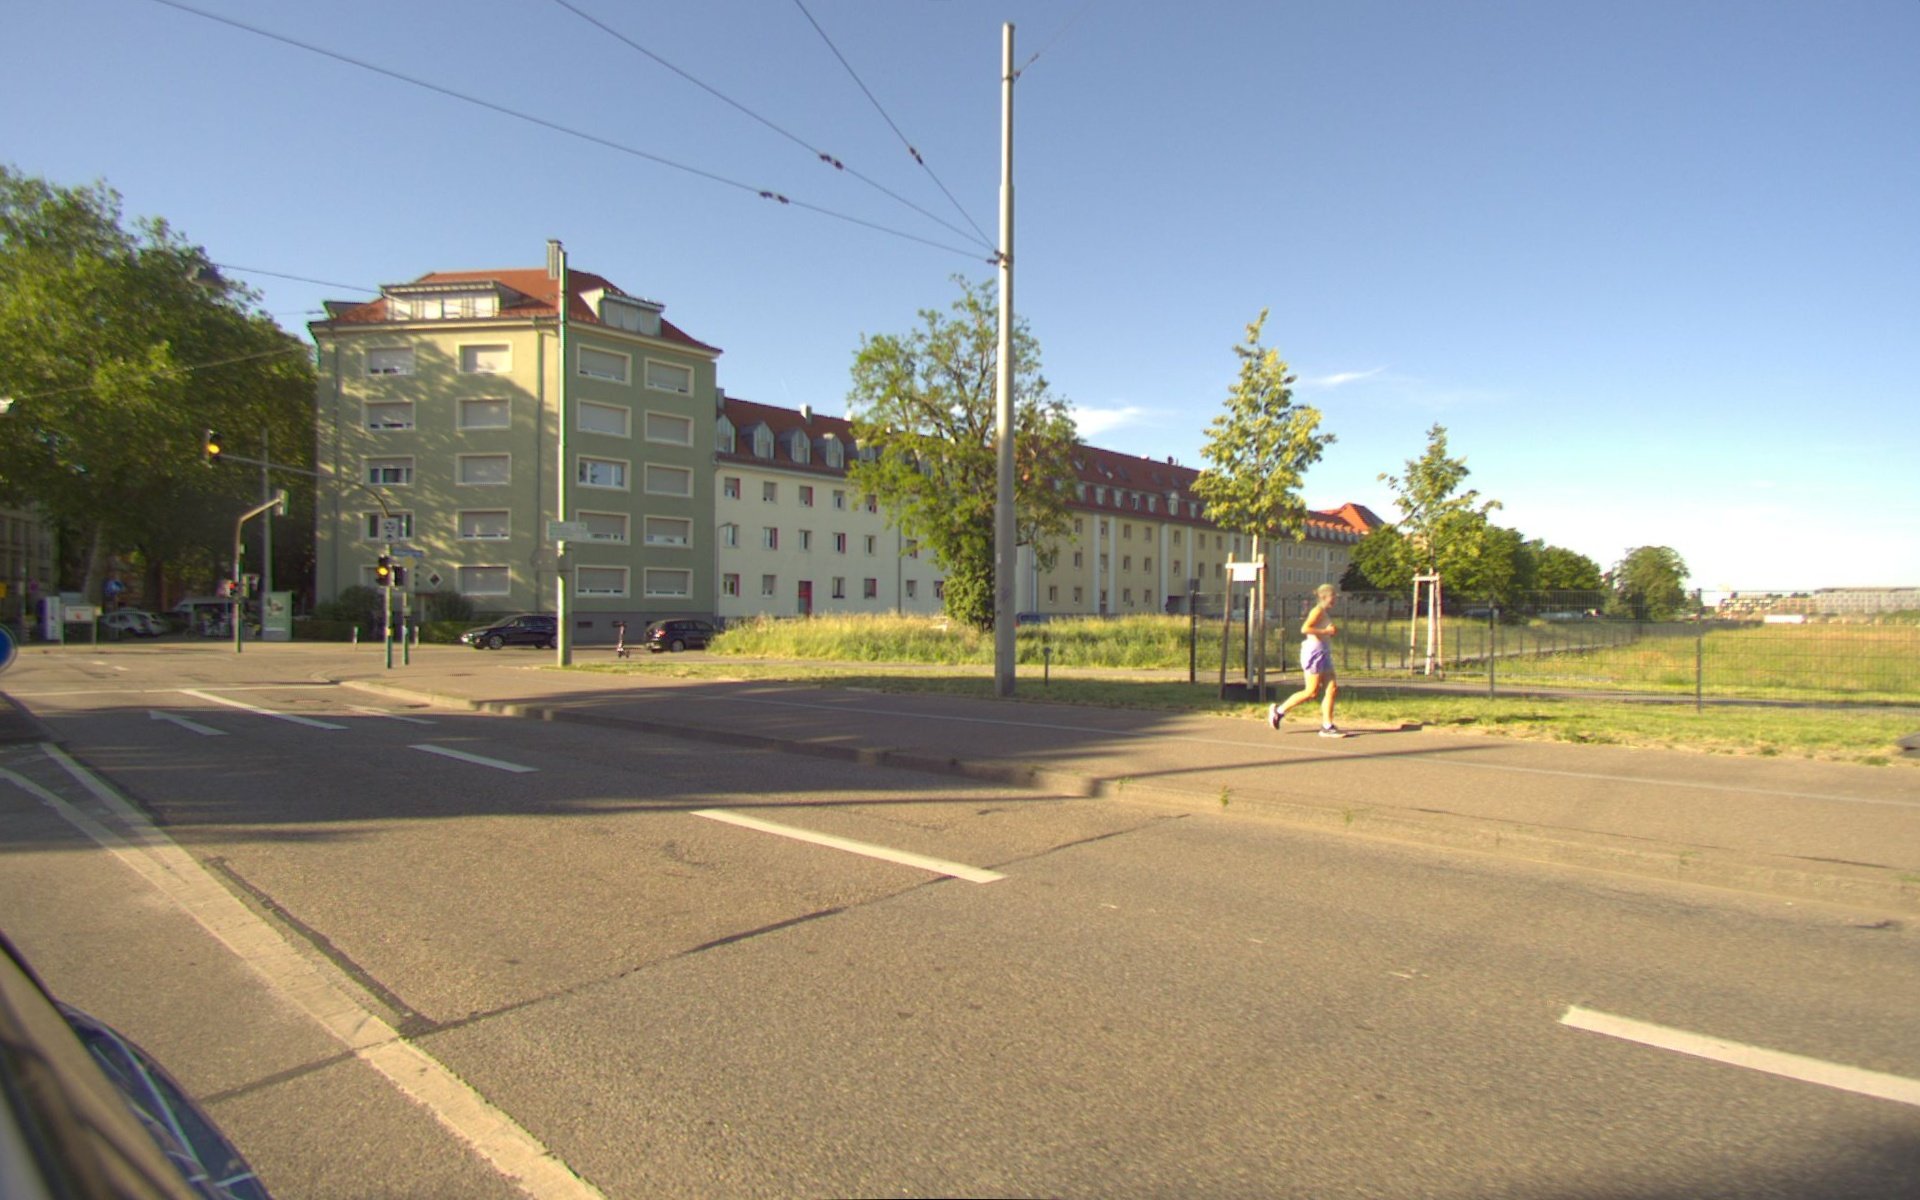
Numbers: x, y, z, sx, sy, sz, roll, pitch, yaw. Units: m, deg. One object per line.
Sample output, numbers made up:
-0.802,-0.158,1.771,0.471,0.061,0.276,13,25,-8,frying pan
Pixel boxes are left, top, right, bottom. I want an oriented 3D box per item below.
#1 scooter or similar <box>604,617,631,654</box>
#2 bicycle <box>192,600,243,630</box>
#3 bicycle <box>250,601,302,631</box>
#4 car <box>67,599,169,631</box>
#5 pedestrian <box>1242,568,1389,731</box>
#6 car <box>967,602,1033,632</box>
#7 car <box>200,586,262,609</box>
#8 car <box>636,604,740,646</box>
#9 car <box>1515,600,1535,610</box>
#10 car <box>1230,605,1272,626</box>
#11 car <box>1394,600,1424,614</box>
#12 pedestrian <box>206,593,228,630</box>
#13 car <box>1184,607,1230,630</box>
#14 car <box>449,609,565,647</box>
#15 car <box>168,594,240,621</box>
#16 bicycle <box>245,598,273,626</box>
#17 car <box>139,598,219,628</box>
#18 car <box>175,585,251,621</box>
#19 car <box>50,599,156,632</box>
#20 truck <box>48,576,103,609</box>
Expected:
-11.450,1.185,33.835,0.586,1.153,1.268,0,-6,-7,scooter or similar
-39.045,0.786,53.226,2.017,1.472,0.728,2,1,-19,bicycle
-33.350,0.783,49.347,2.027,1.390,0.773,2,1,6,bicycle
-47.407,0.819,57.076,4.078,1.652,1.780,-1,1,-27,car
3.811,0.511,10.881,0.823,1.641,1.181,-2,-1,-45,pedestrian
2.290,0.992,56.909,1.698,1.542,3.851,-6,-5,39,car
-61.688,-0.220,85.718,3.932,1.851,1.822,-1,1,-26,car
-11.118,1.042,41.534,1.698,1.542,3.851,-6,-5,39,car
91.122,0.796,163.232,1.942,1.505,4.148,-3,-3,43,car
22.804,1.238,79.331,1.698,1.542,3.851,-6,-5,39,car
53.534,0.855,120.605,1.942,1.505,4.148,-3,-3,43,car
-39.896,0.616,54.360,0.685,1.978,0.930,-1,1,-18,pedestrian
18.132,1.399,74.229,1.698,1.542,3.851,-6,-5,39,car
-19.332,1.206,43.300,1.942,1.505,4.148,-3,-3,43,car
-55.917,0.539,74.924,3.932,1.851,1.822,-1,1,-26,car
-36.374,0.621,52.505,2.053,1.390,0.764,3,1,43,bicycle
-52.258,0.868,67.797,3.932,1.851,1.822,-1,1,-26,car
-57.219,0.171,77.588,4.345,2.646,1.976,-1,1,-27,car
-46.608,0.833,55.148,4.078,1.652,1.780,-1,1,-27,car
-85.987,-0.780,98.468,2.304,2.994,8.058,-1,1,-29,truck
